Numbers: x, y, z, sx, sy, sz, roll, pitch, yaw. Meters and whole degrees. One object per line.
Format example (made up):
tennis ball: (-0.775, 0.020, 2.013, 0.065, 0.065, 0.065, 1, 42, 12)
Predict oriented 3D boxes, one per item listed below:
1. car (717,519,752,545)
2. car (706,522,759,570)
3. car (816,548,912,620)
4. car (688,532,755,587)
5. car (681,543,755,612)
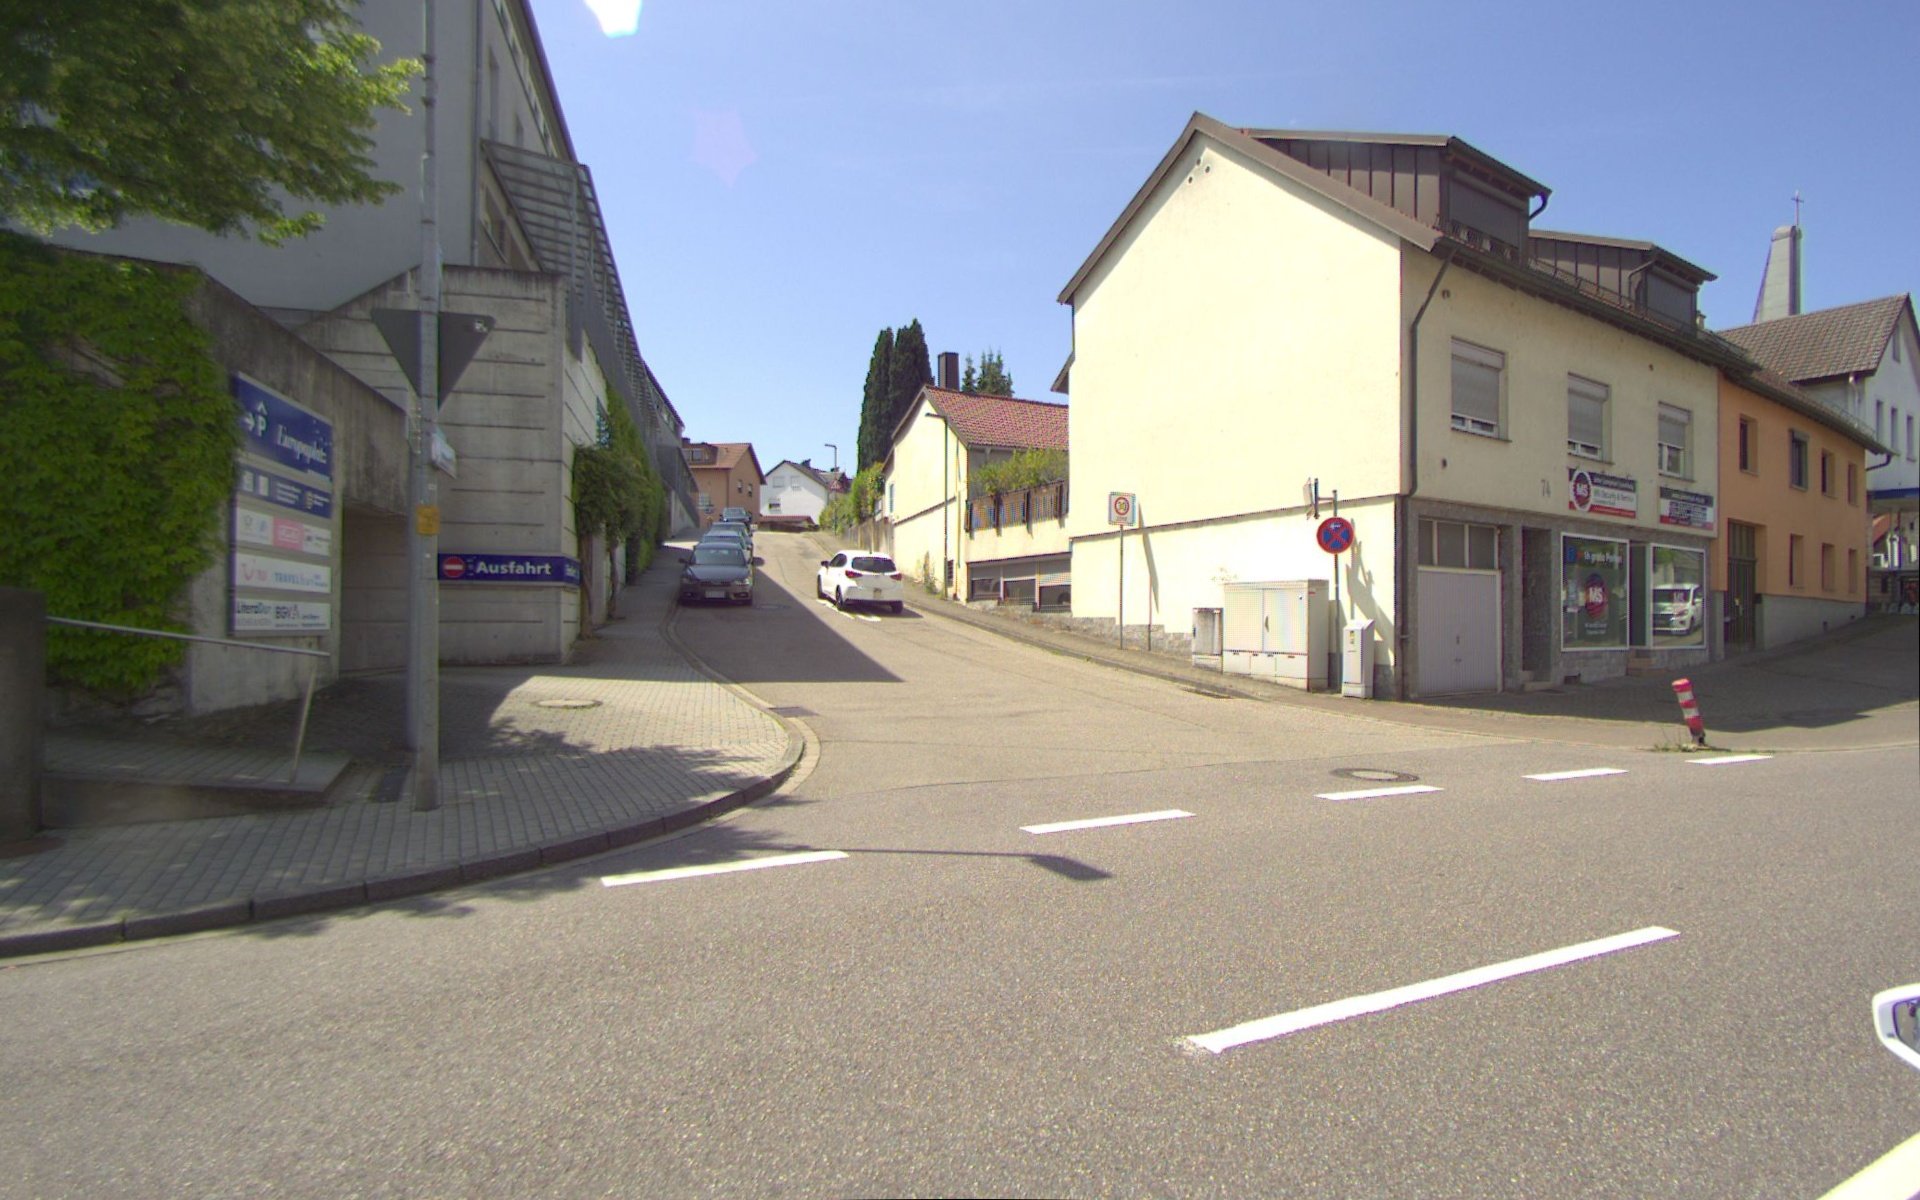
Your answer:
car: (-13.937, -4.228, 62.320, 1.964, 1.441, 4.494, 0, 6, -11)
car: (-8.731, -2.125, 38.607, 1.857, 1.582, 4.492, 0, 6, -12)
car: (-2.612, -0.483, 26.524, 1.784, 1.488, 3.984, 0, 7, -16)
car: (-7.583, -1.347, 32.154, 1.965, 1.441, 4.492, 0, 6, -12)
car: (-6.327, -0.663, 26.465, 1.727, 1.441, 4.492, 0, 6, -12)
